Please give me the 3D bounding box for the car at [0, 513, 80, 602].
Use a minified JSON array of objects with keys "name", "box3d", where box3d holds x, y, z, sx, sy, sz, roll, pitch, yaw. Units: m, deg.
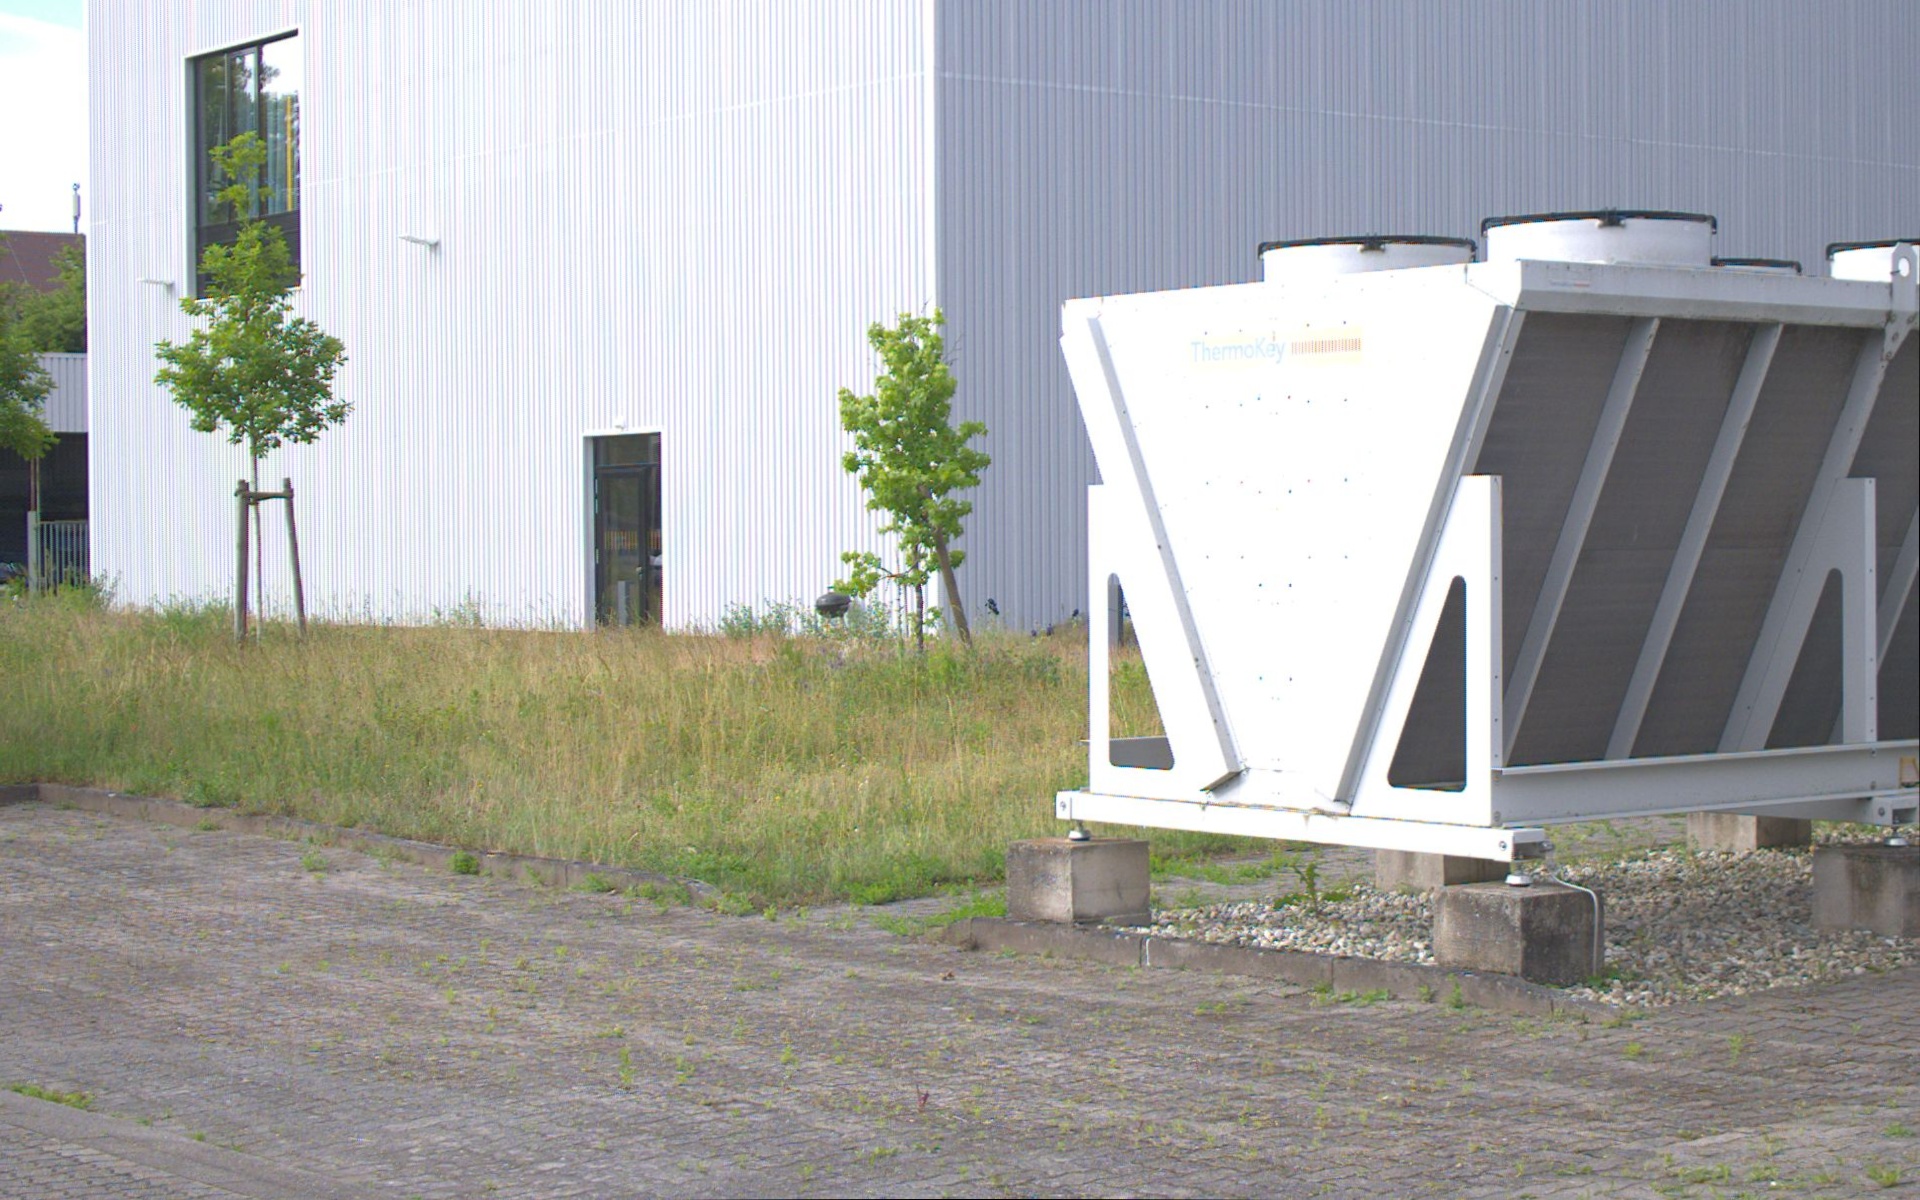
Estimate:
[{"name":"car","box3d":[-22.875,-1.004,80.718,2.242,2.007,5.335,-2,2,-39]}]
